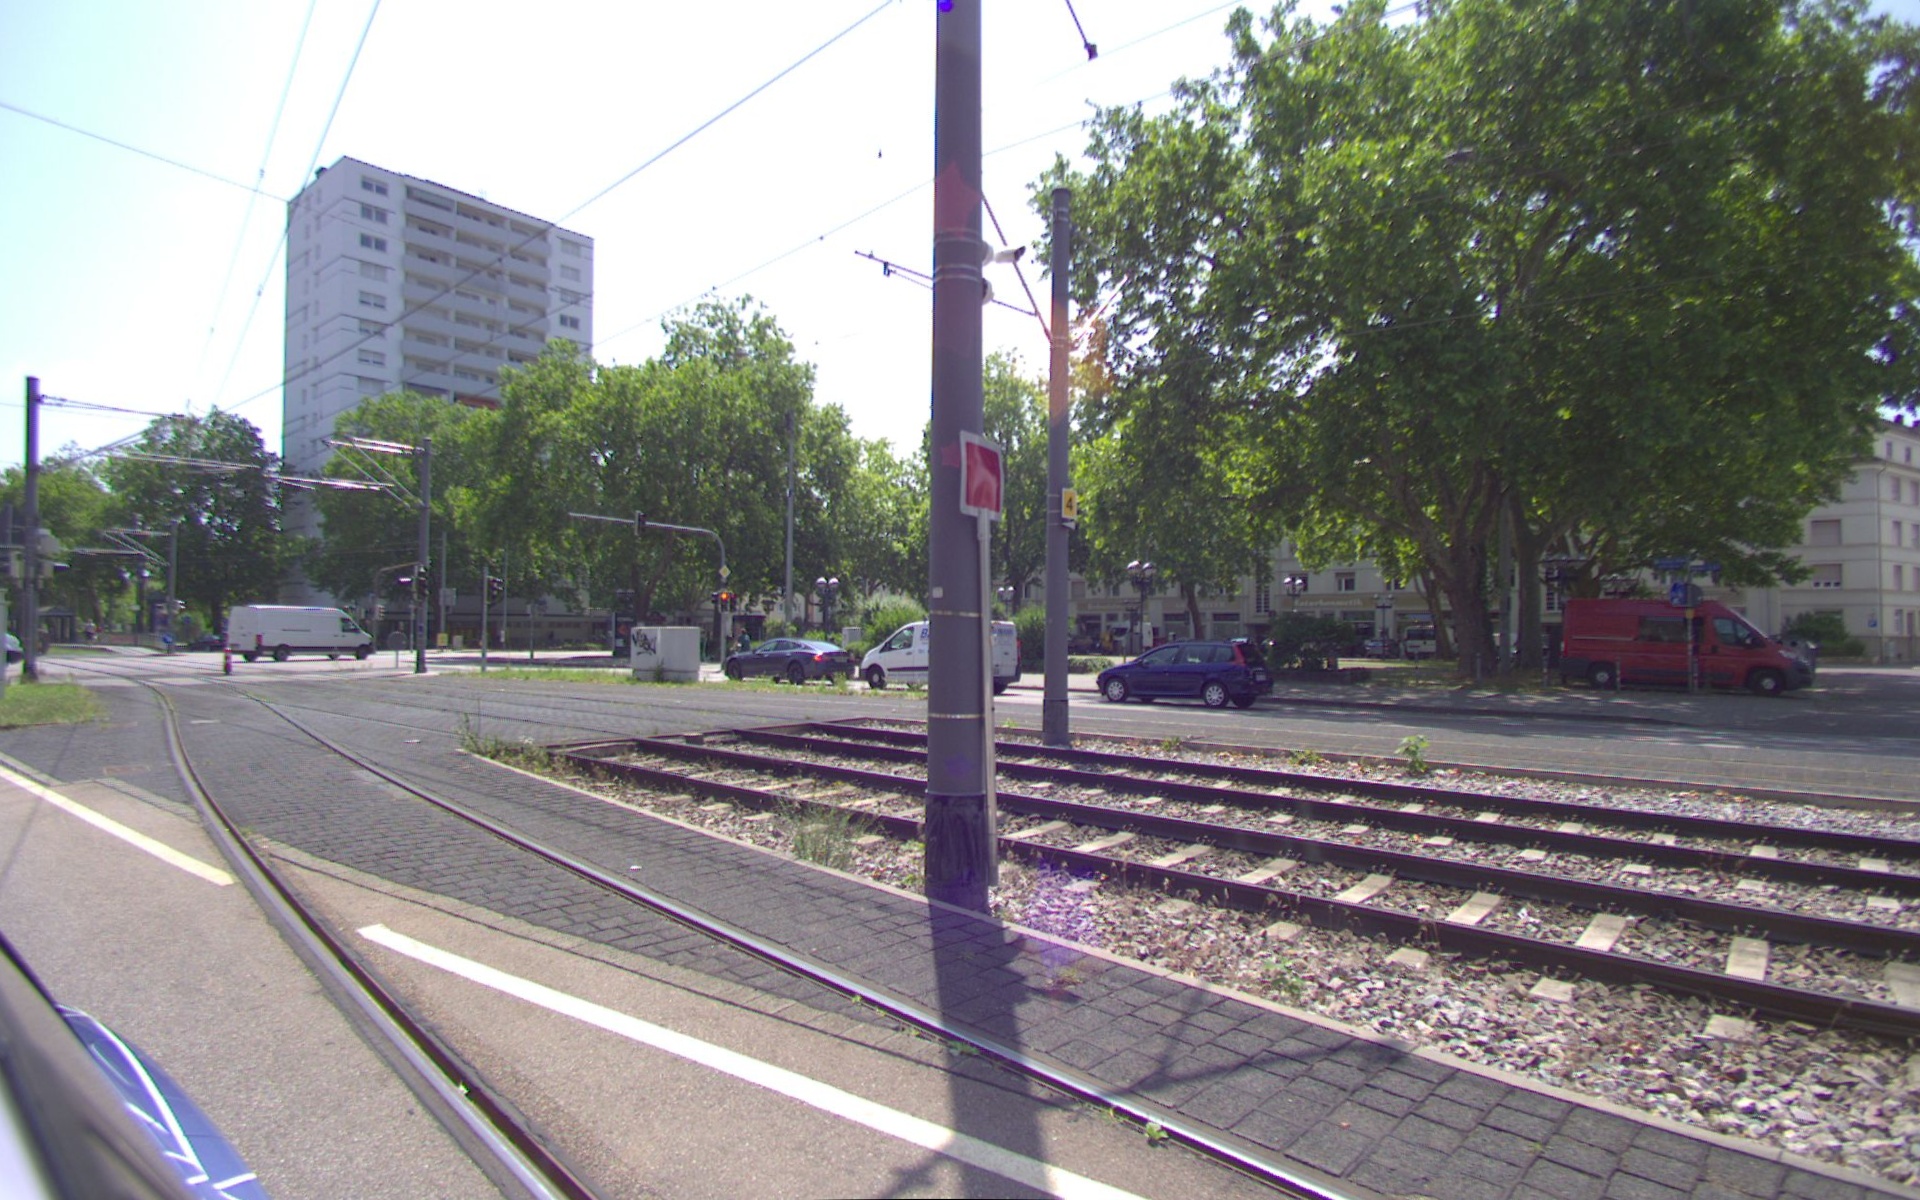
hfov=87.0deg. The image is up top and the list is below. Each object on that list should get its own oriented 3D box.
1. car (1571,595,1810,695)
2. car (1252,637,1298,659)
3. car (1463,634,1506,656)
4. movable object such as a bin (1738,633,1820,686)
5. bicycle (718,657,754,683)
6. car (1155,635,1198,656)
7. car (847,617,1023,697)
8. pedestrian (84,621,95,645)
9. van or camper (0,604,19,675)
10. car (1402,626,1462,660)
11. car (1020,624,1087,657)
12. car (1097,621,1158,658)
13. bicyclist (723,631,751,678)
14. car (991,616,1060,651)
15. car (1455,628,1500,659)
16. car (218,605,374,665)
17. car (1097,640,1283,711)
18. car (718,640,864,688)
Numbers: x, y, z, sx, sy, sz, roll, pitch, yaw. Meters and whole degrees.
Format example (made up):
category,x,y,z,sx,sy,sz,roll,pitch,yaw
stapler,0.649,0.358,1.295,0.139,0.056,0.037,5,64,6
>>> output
category,x,y,z,sx,sy,sz,roll,pitch,yaw
car,19.143,1.119,26.711,4.977,2.411,1.828,0,-3,40
car,21.467,3.232,68.860,1.620,1.420,3.875,-1,-2,39
car,36.285,3.069,69.918,1.622,1.420,3.870,-2,-2,43
movable object such as a bin,26.736,1.897,33.066,1.985,1.623,2.689,-1,-2,40
bicycle,-8.323,2.594,37.561,1.480,0.889,0.491,-1,-2,38
car,15.844,3.323,74.035,1.620,1.420,3.659,-1,-2,39
car,-0.751,1.499,27.516,4.799,2.006,1.759,-2,-3,39
pedestrian,-61.520,2.323,71.551,0.554,1.724,0.504,-2,-2,41
van or camper,-34.993,1.298,33.138,2.055,2.480,5.870,-1,-2,16
car,28.830,2.566,61.721,2.166,1.964,3.943,-2,-2,43
car,6.050,2.608,65.657,3.997,2.099,1.973,-1,-2,40
car,12.821,2.947,77.183,2.106,2.680,5.635,-1,-2,39
bicyclist,-8.267,2.017,37.530,0.867,1.698,0.632,-1,-2,37
car,4.083,2.062,63.295,3.997,2.099,1.973,-1,-2,40
car,30.886,2.571,60.396,1.620,1.759,3.659,-1,-2,39
car,-31.657,1.663,48.608,2.058,2.657,6.601,0,-2,15
car,5.081,1.645,22.587,3.779,1.431,1.580,-1,-4,40
car,-5.301,1.936,31.455,4.623,1.369,1.928,-2,-3,39
